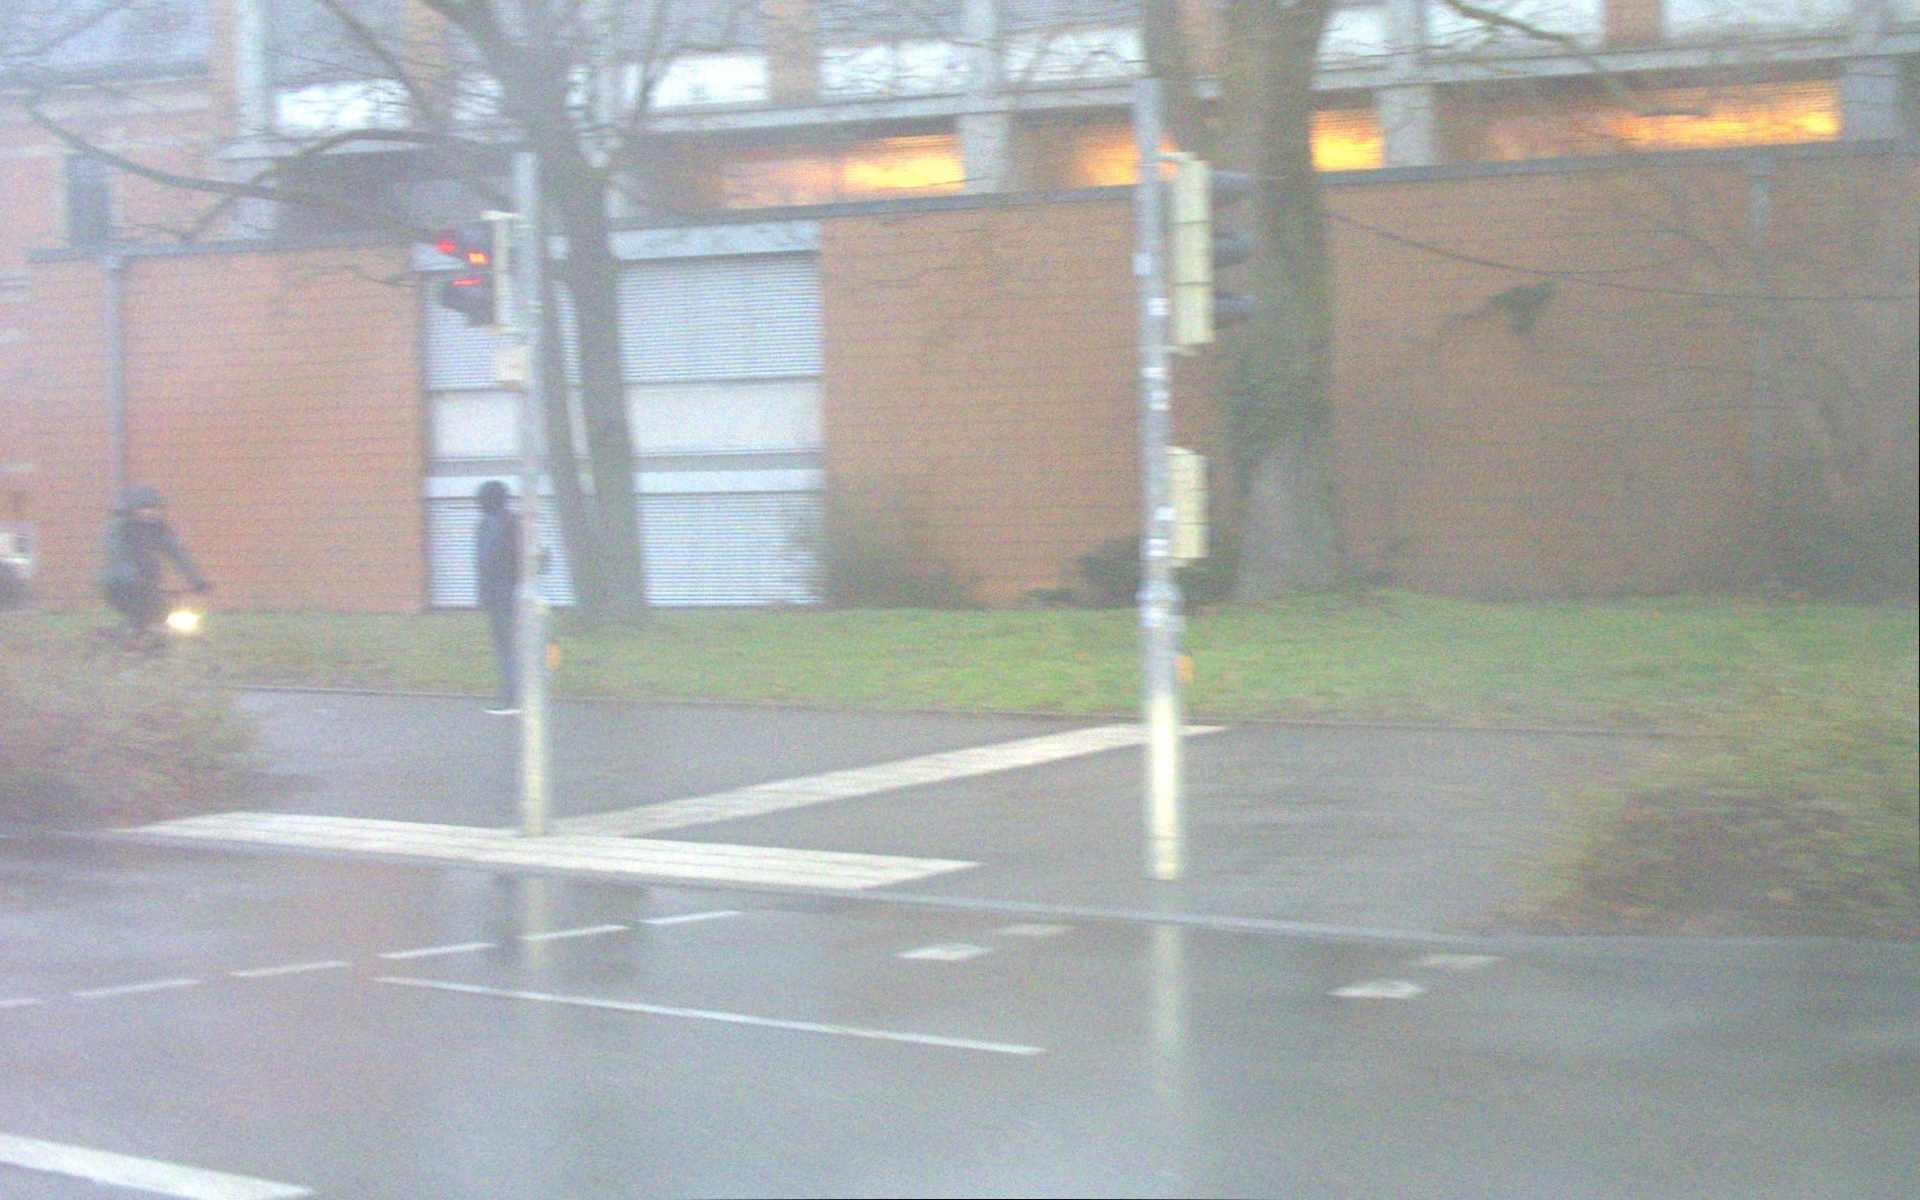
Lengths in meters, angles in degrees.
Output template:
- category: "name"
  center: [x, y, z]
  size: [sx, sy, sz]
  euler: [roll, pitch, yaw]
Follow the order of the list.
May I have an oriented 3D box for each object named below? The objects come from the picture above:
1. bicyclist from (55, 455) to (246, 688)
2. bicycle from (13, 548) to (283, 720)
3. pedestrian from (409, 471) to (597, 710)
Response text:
- category: "bicyclist"
  center: [-5.917, -0.221, 25.119]
  size: [1.085, 1.612, 0.804]
  euler: [1, 6, 44]
- category: "bicycle"
  center: [-5.972, 0.222, 25.206]
  size: [2.212, 1.137, 0.804]
  euler: [1, 6, 44]
- category: "pedestrian"
  center: [-3.359, -0.081, 25.242]
  size: [1.069, 1.682, 0.808]
  euler: [0, 4, 45]
